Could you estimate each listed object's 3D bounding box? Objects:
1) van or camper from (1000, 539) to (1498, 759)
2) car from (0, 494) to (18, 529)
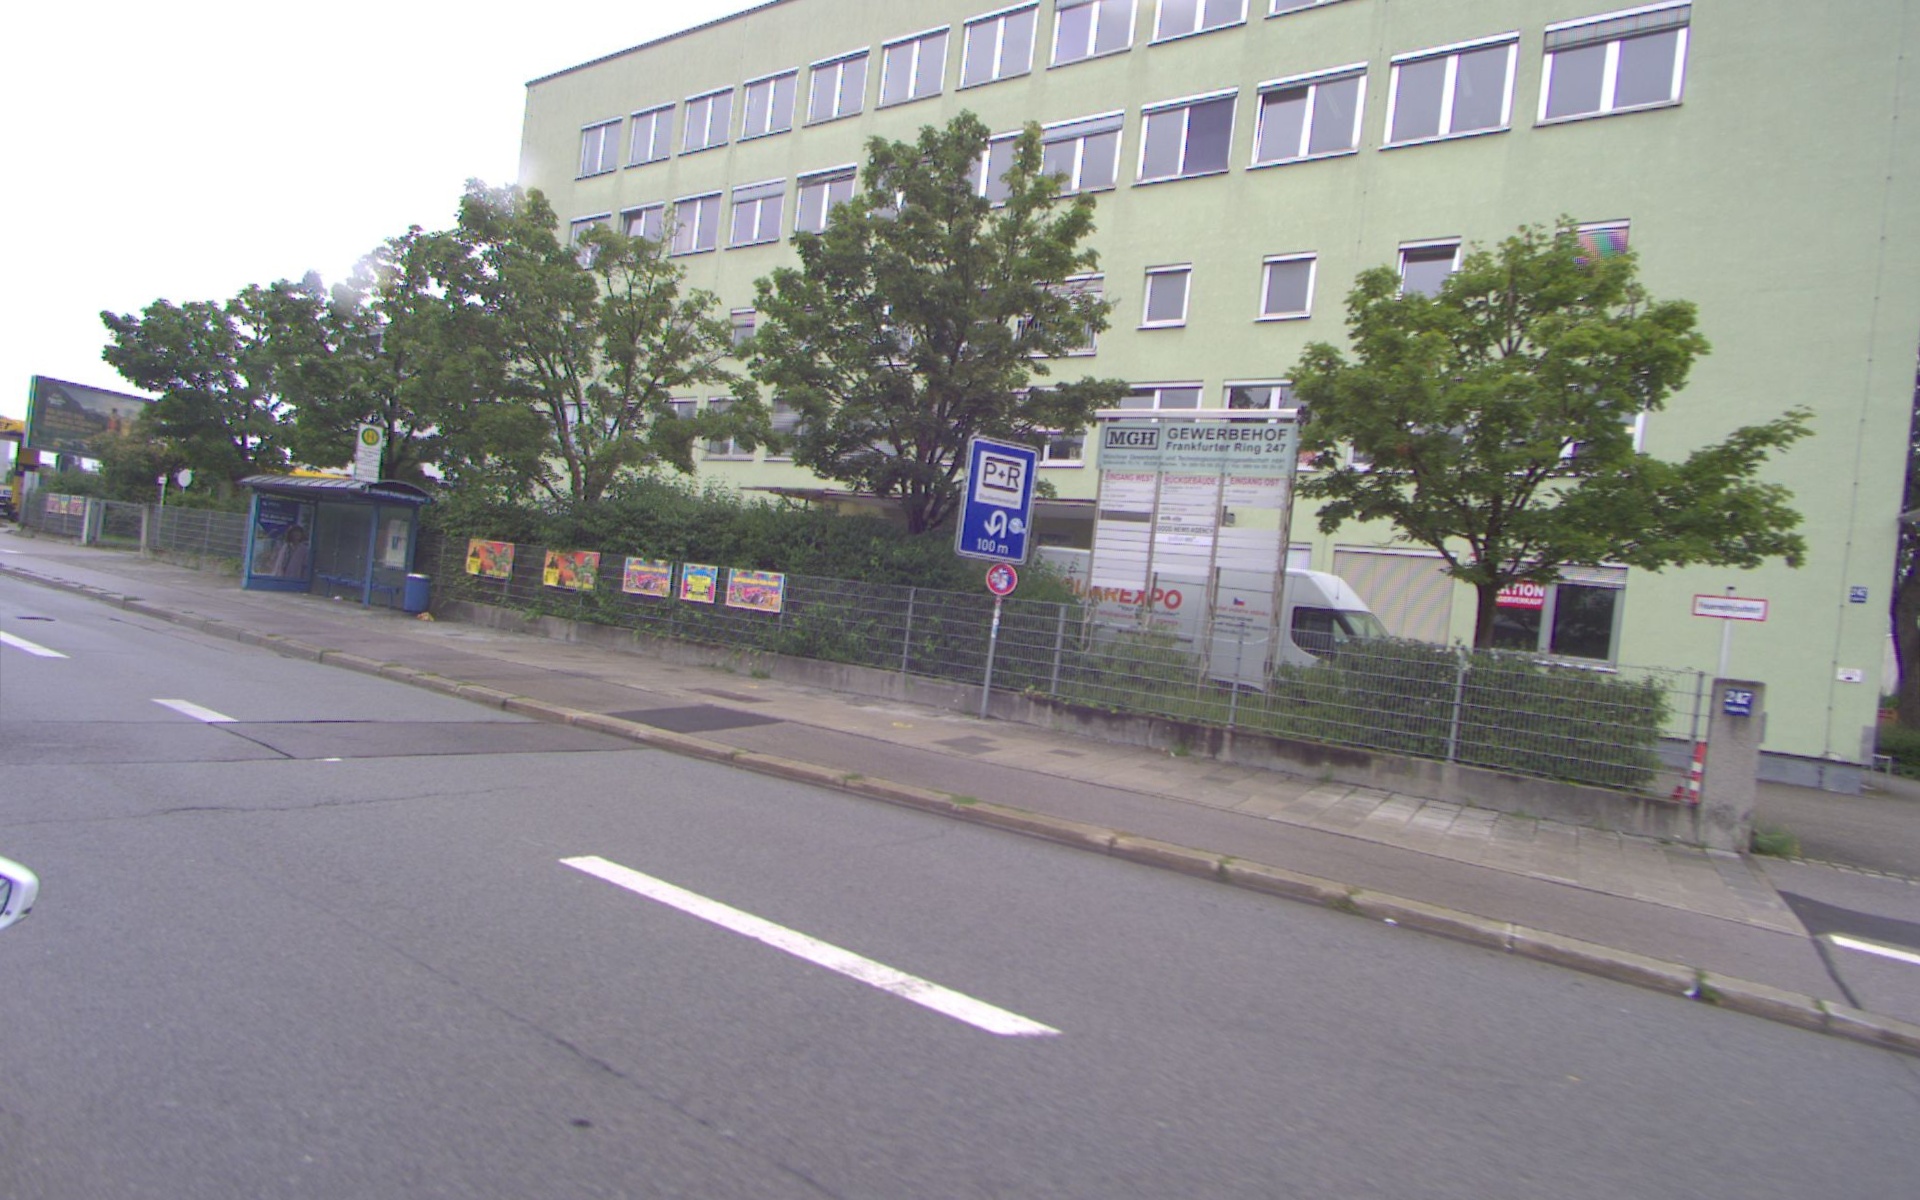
[{"bbox_3d":[4.298,0.597,16.246,7.280,2.527,2.123,6,0,39],"label":"van or camper"},{"bbox_3d":[-54.376,-5.081,56.202,3.938,1.816,1.755,7,0,36],"label":"car"}]
